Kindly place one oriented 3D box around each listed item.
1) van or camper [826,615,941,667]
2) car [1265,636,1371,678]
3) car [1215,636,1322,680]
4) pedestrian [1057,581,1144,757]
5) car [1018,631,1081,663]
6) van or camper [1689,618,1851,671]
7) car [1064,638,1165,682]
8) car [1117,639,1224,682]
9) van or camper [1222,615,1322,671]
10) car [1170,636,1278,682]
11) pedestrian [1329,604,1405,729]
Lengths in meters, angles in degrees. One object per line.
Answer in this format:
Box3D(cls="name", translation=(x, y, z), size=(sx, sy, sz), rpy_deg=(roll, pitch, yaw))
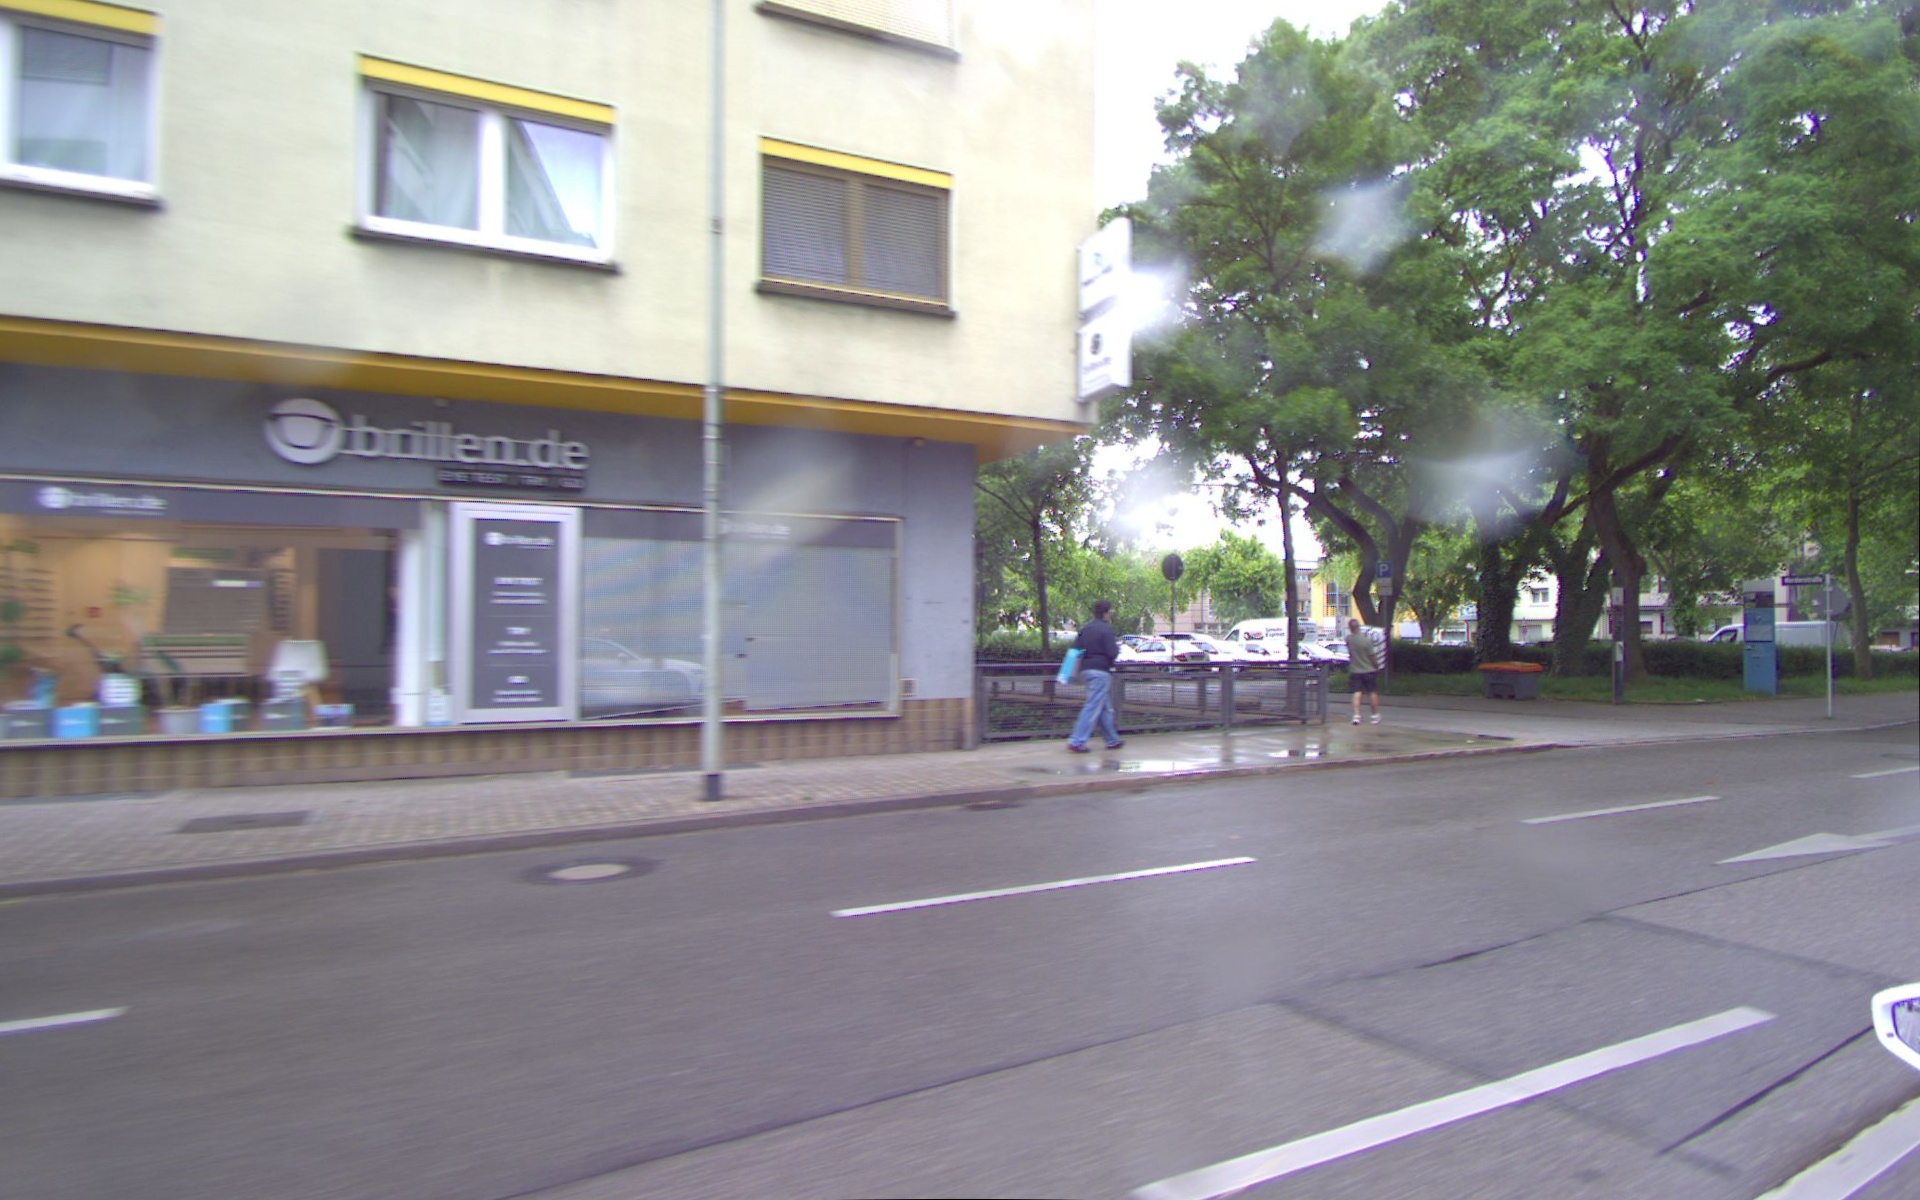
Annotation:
Box3D(cls="van or camper", translation=(-4.117, 2.076, 51.579), size=(2.532, 2.433, 8.588), rpy_deg=(1, -2, -29))
Box3D(cls="car", translation=(14.702, 2.304, 41.443), size=(1.840, 1.647, 3.971), rpy_deg=(1, -2, -28))
Box3D(cls="car", translation=(12.249, 2.268, 40.076), size=(1.840, 1.647, 3.971), rpy_deg=(1, -2, -28))
Box3D(cls="pedestrian", translation=(1.693, 0.815, 12.165), size=(0.771, 2.040, 0.748), rpy_deg=(1, -2, -23))
Box3D(cls="car", translation=(5.267, 2.801, 59.723), size=(1.782, 1.848, 3.969), rpy_deg=(1, -3, -30))
Box3D(cls="van or camper", translation=(31.729, 1.714, 39.473), size=(1.978, 1.975, 4.572), rpy_deg=(1, -2, -31))
Box3D(cls="car", translation=(5.582, 2.141, 36.690), size=(1.841, 1.483, 3.615), rpy_deg=(1, -2, -29))
Box3D(cls="car", translation=(7.837, 2.222, 37.734), size=(1.840, 1.483, 3.971), rpy_deg=(1, -2, -28))
Box3D(cls="van or camper", translation=(14.604, 2.003, 47.247), size=(2.073, 2.463, 4.310), rpy_deg=(1, -2, -28))
Box3D(cls="car", translation=(10.197, 2.249, 39.012), size=(1.840, 1.647, 4.023), rpy_deg=(1, -2, -28))
Box3D(cls="pedestrian", translation=(6.538, 1.054, 16.176), size=(0.804, 1.950, 0.919), rpy_deg=(0, -2, -5))
